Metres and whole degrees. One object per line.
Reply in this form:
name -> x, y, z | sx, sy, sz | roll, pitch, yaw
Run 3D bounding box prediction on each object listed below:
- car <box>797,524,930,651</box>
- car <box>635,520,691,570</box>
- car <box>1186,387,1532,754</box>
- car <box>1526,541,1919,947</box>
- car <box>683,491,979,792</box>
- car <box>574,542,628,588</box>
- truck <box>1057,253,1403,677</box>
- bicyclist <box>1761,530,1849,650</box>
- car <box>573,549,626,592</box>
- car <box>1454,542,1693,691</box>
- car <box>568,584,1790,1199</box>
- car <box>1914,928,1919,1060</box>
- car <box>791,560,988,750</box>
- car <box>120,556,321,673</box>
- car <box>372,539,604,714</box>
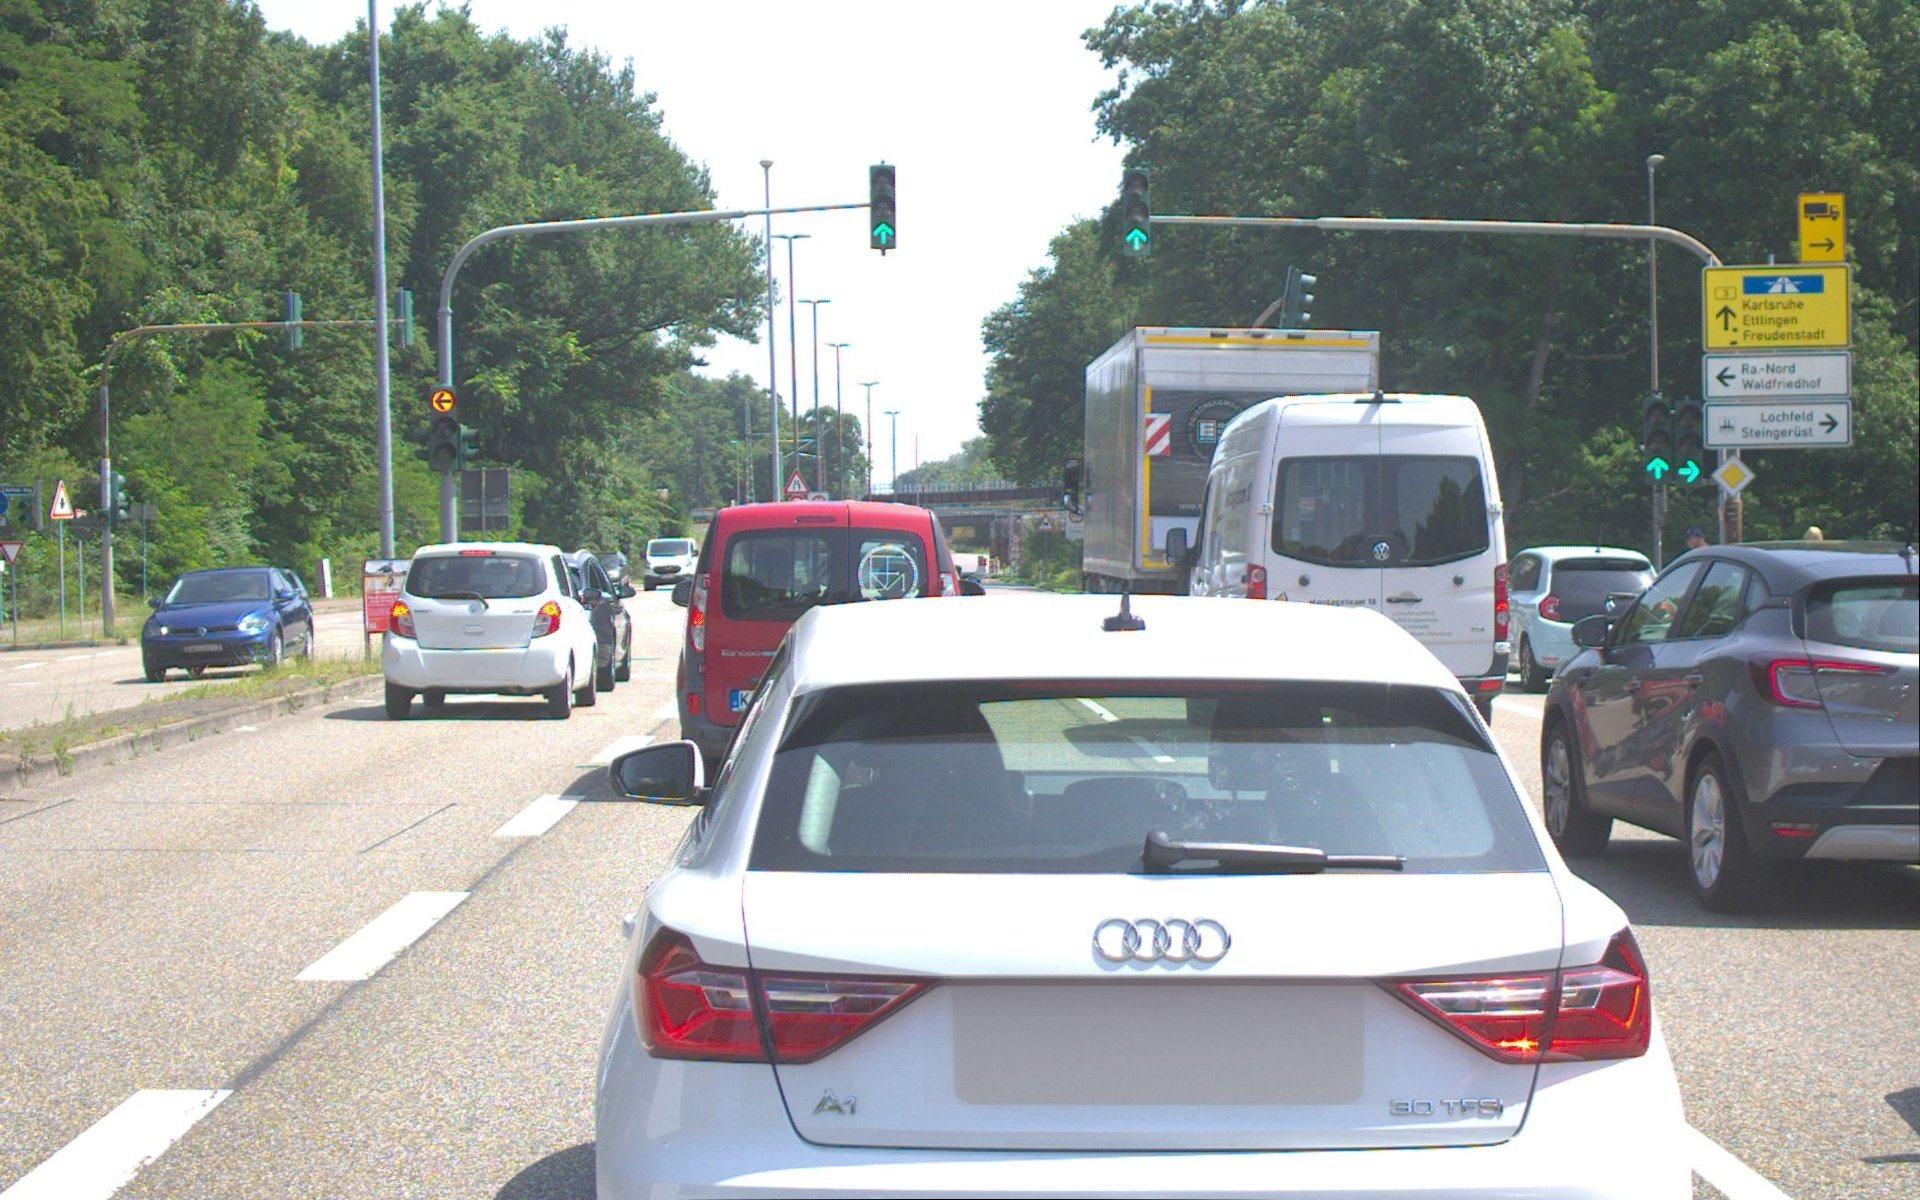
car -> -1.326, -0.197, 46.322 | 1.711, 1.626, 4.092 | 0, 1, -2
car -> -11.329, -2.102, 131.539 | 1.872, 1.854, 4.000 | -1, 1, -2
car -> 3.031, -0.255, 27.132 | 2.031, 2.635, 4.846 | 0, 1, -2
car -> 3.834, 0.529, 15.530 | 1.711, 1.587, 4.092 | 0, 1, -2
car -> -0.832, 0.206, 21.980 | 1.711, 1.742, 4.092 | 0, 1, -2
car -> -14.980, -1.480, 143.601 | 1.872, 1.854, 4.000 | -1, 1, -2
truck -> 2.995, -1.516, 41.843 | 3.088, 4.418, 11.581 | 0, 1, -1
bicyclist -> 10.277, -0.123, 41.810 | 0.828, 1.434, 0.598 | 0, 1, 45
car -> -15.060, -1.234, 143.748 | 1.830, 1.722, 4.000 | -1, 1, -1
car -> 6.628, 0.135, 37.539 | 1.711, 1.541, 4.092 | 0, 1, -2
car -> 0.224, 0.686, 6.851 | 1.711, 1.381, 4.092 | 0, 1, -2
car -> 3.739, 0.664, 7.948 | 1.711, 1.473, 4.092 | 3, 1, -2
car -> -0.698, 0.454, 31.877 | 1.711, 1.626, 4.092 | 0, 1, -2
car -> -9.769, 0.161, 45.688 | 1.804, 1.331, 4.000 | -4, 1, -2
car -> -4.223, 0.190, 31.263 | 1.711, 1.487, 4.092 | 0, 1, -2
